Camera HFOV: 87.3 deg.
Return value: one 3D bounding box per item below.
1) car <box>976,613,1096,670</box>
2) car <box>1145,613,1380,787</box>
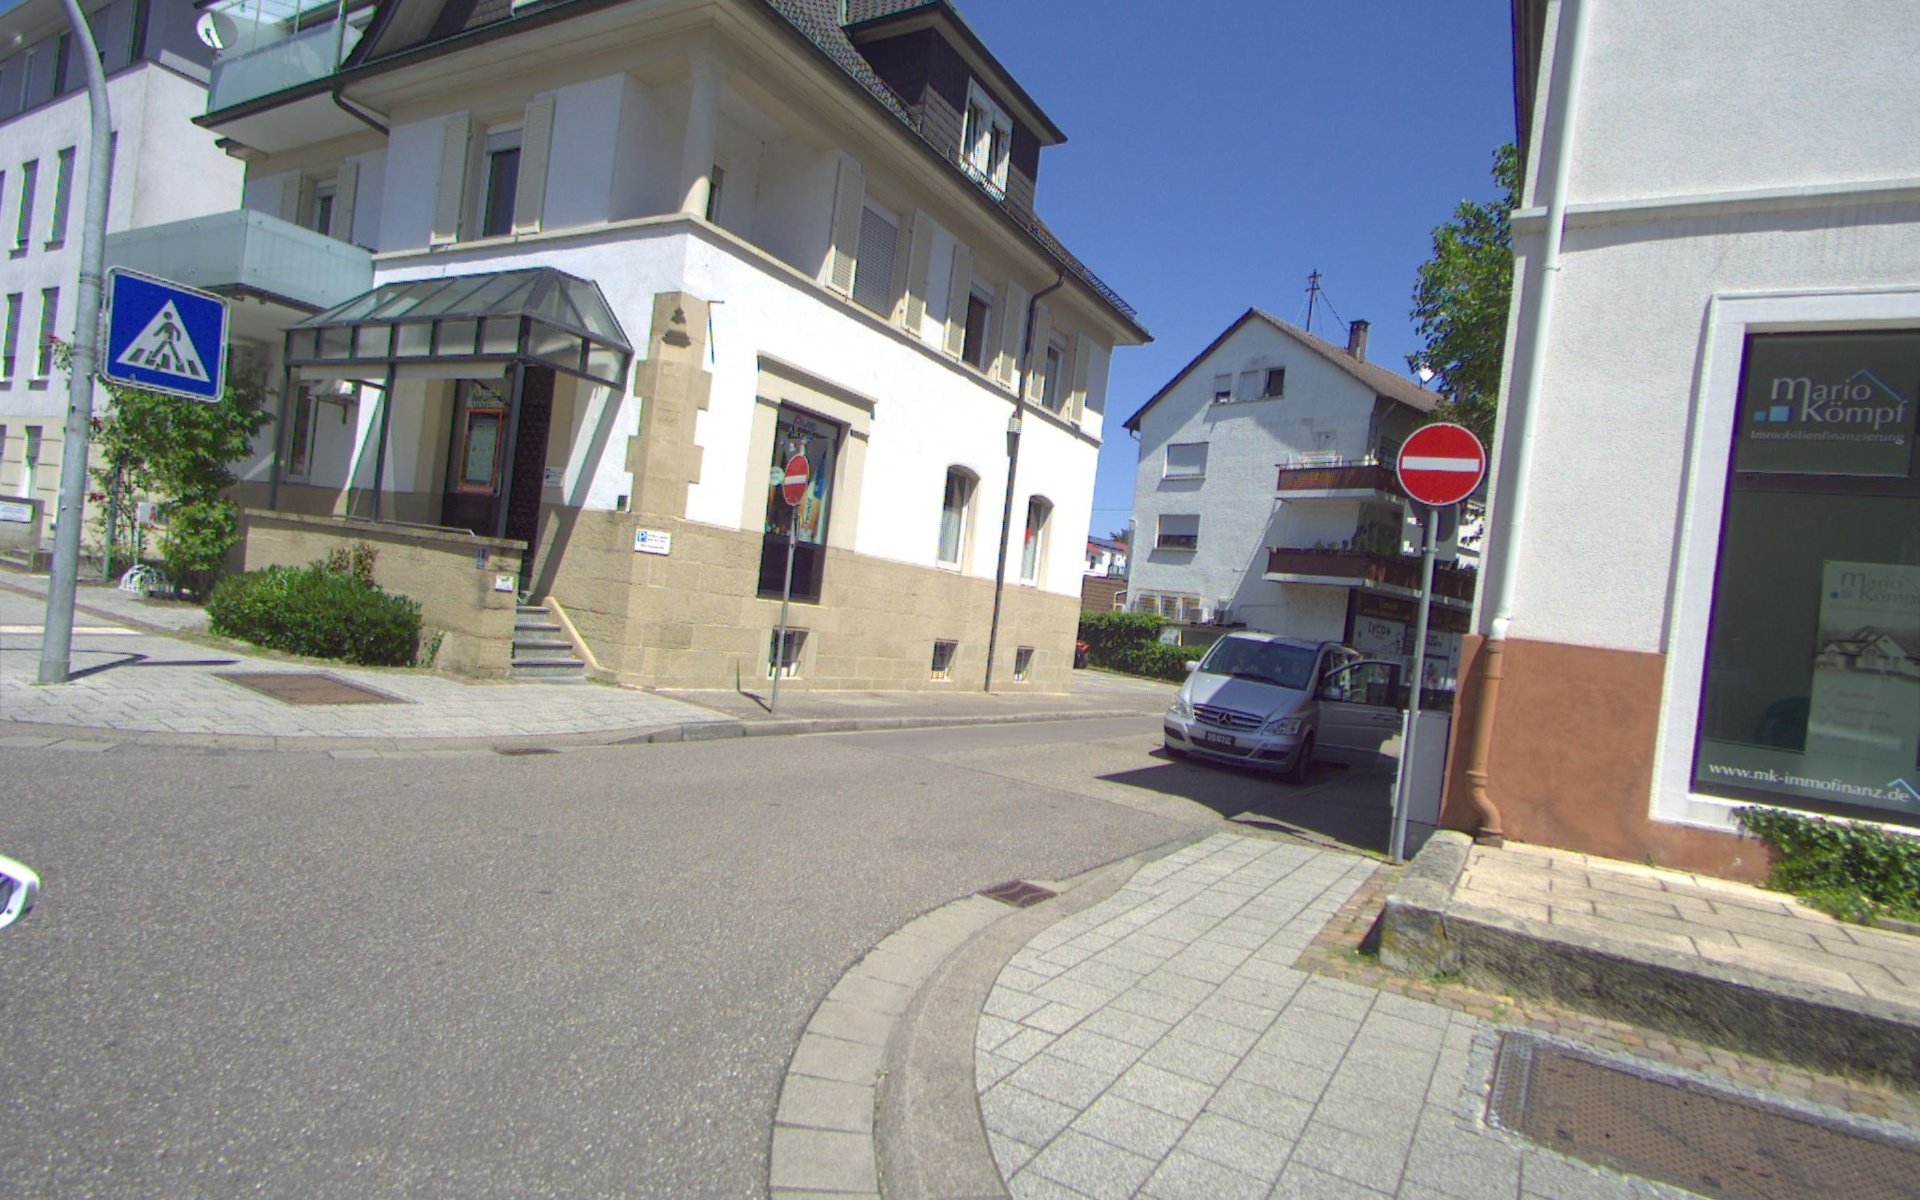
[{"bbox_3d":[2.833,1.559,37.770,4.000,1.593,1.854,7,-1,36],"label":"car"},{"bbox_3d":[4.652,1.431,14.890,1.897,1.899,4.800,9,0,32],"label":"car"}]
